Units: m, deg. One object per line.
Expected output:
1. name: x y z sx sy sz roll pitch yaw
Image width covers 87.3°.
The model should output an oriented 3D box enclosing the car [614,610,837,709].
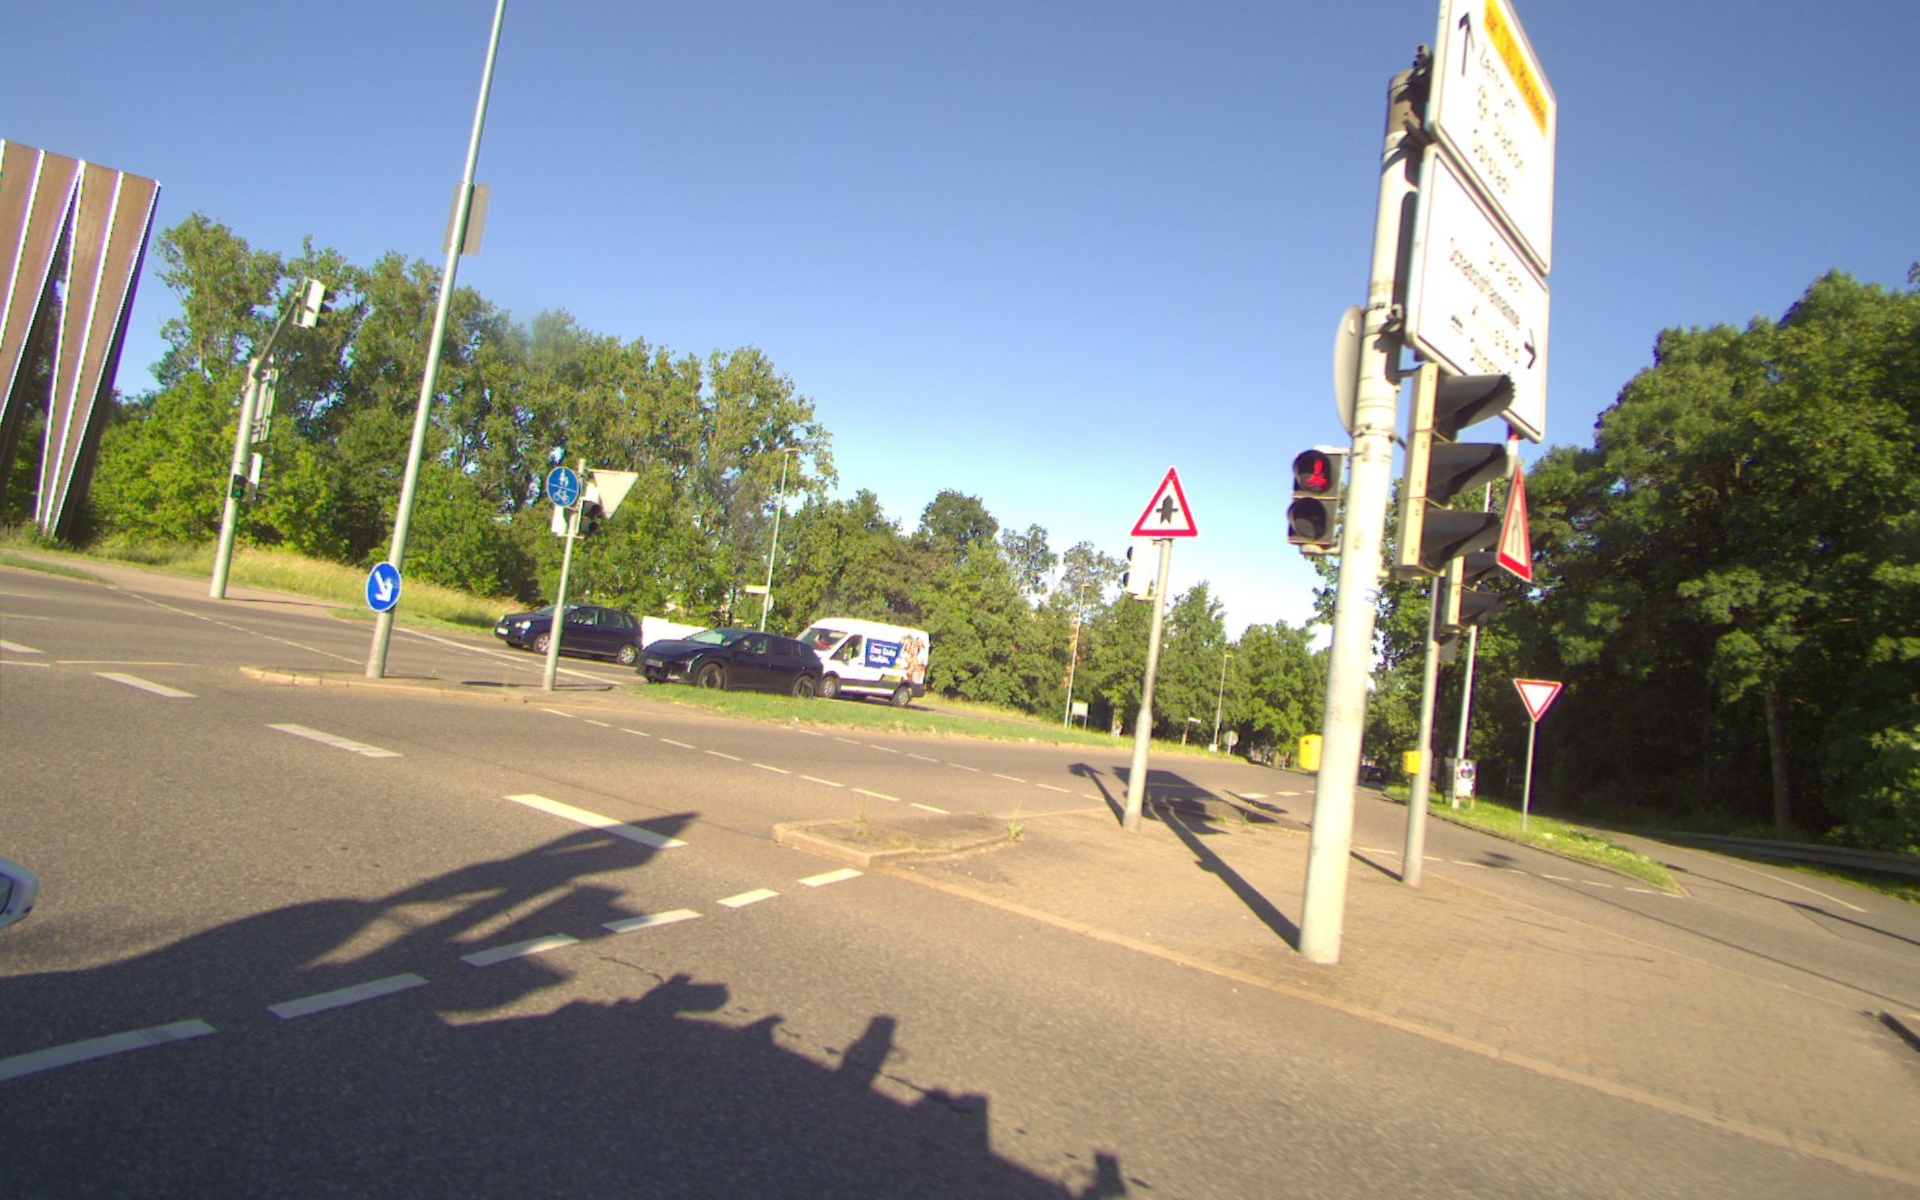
1. car: -5.028 1.379 22.195 1.969 1.479 4.467 7 -4 36

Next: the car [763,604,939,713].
1. car: -3.169 1.842 30.545 2.076 2.432 5.282 6 -6 36

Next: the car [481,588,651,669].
1. car: -10.408 0.804 26.769 1.668 1.417 3.753 8 -4 38
